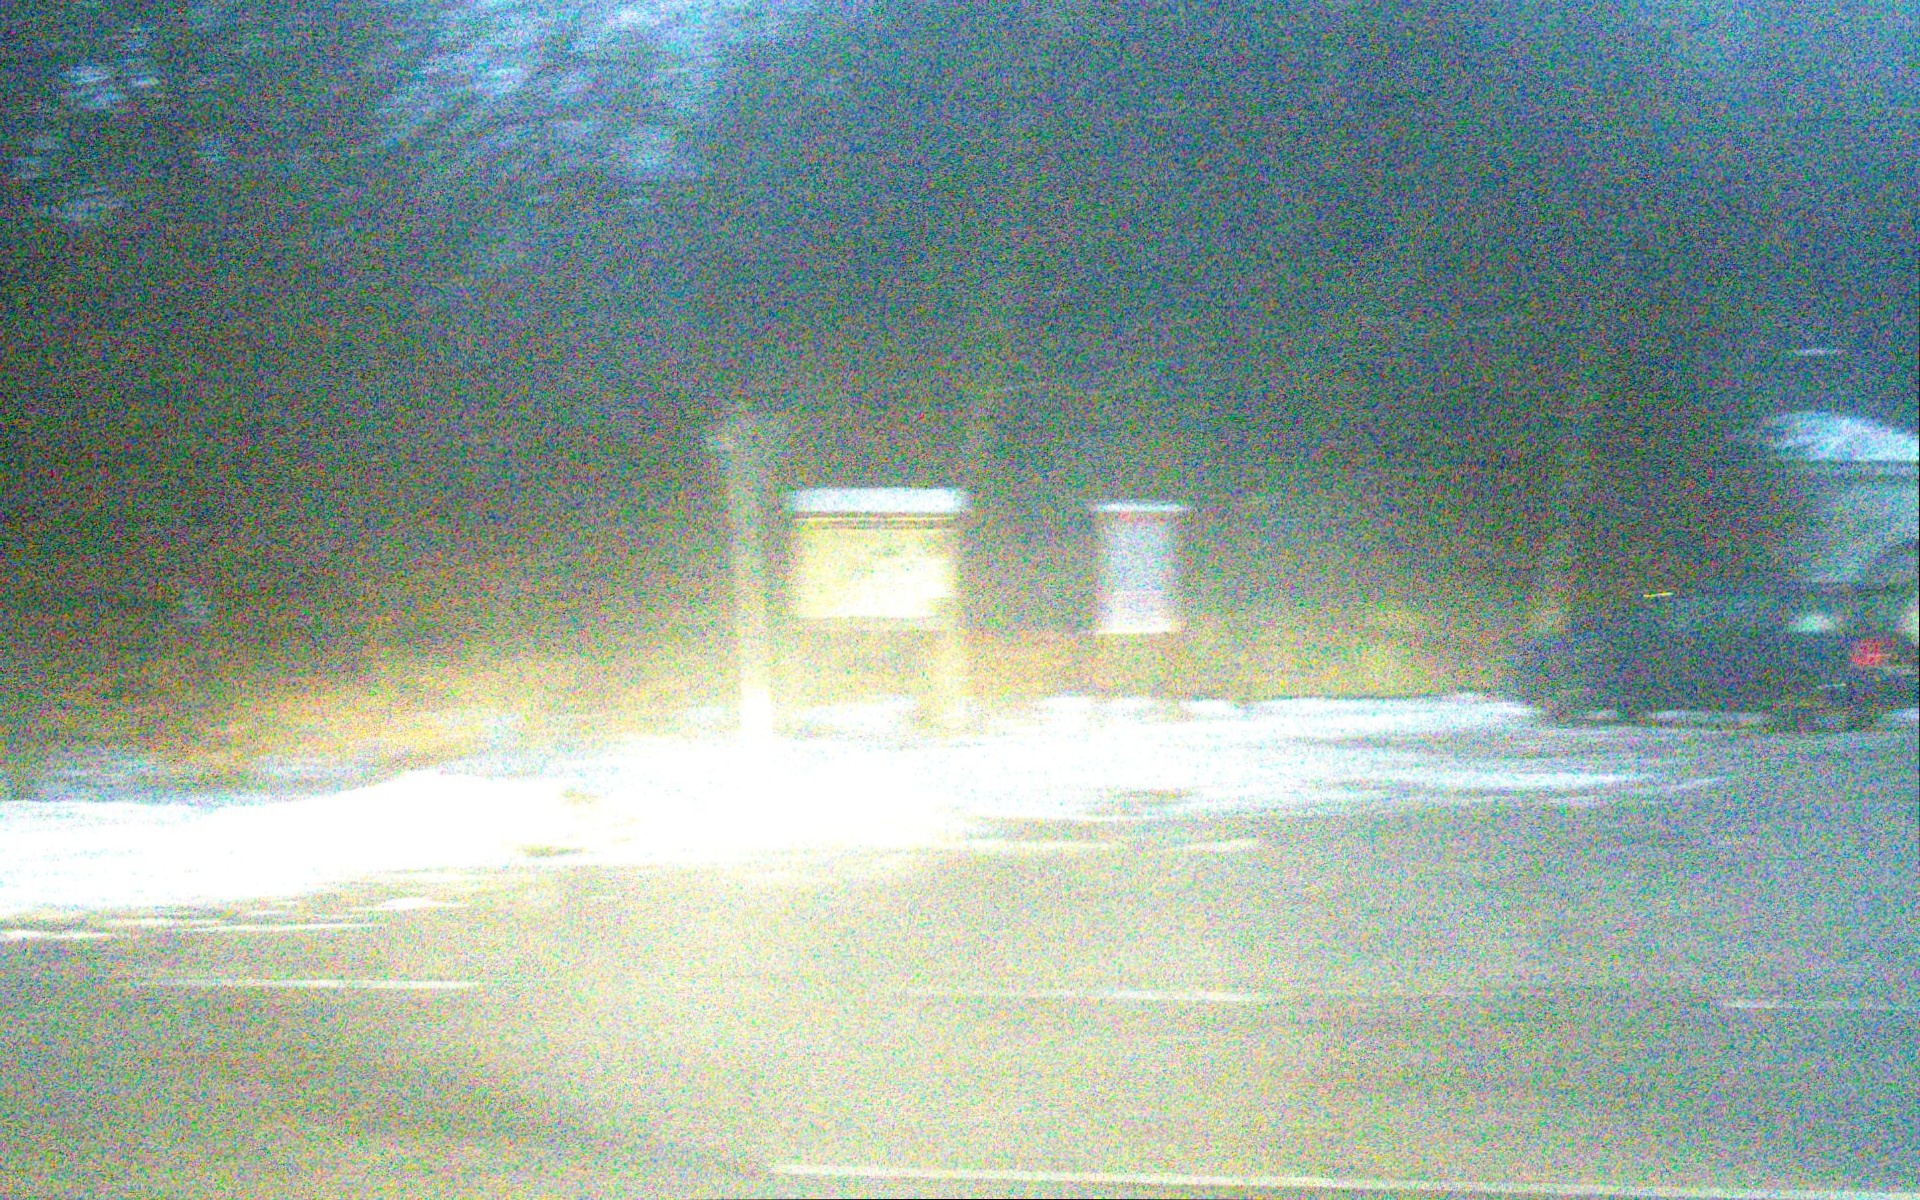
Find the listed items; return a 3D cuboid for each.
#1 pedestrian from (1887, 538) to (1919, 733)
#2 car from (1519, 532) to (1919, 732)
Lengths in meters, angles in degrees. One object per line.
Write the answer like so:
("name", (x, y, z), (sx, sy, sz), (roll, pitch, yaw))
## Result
("pedestrian", (9.370, 0.342, 32.296), (0.962, 1.822, 0.923), (1, -1, 38))
("car", (7.808, 0.294, 34.151), (3.954, 1.875, 1.996), (1, -1, 34))
